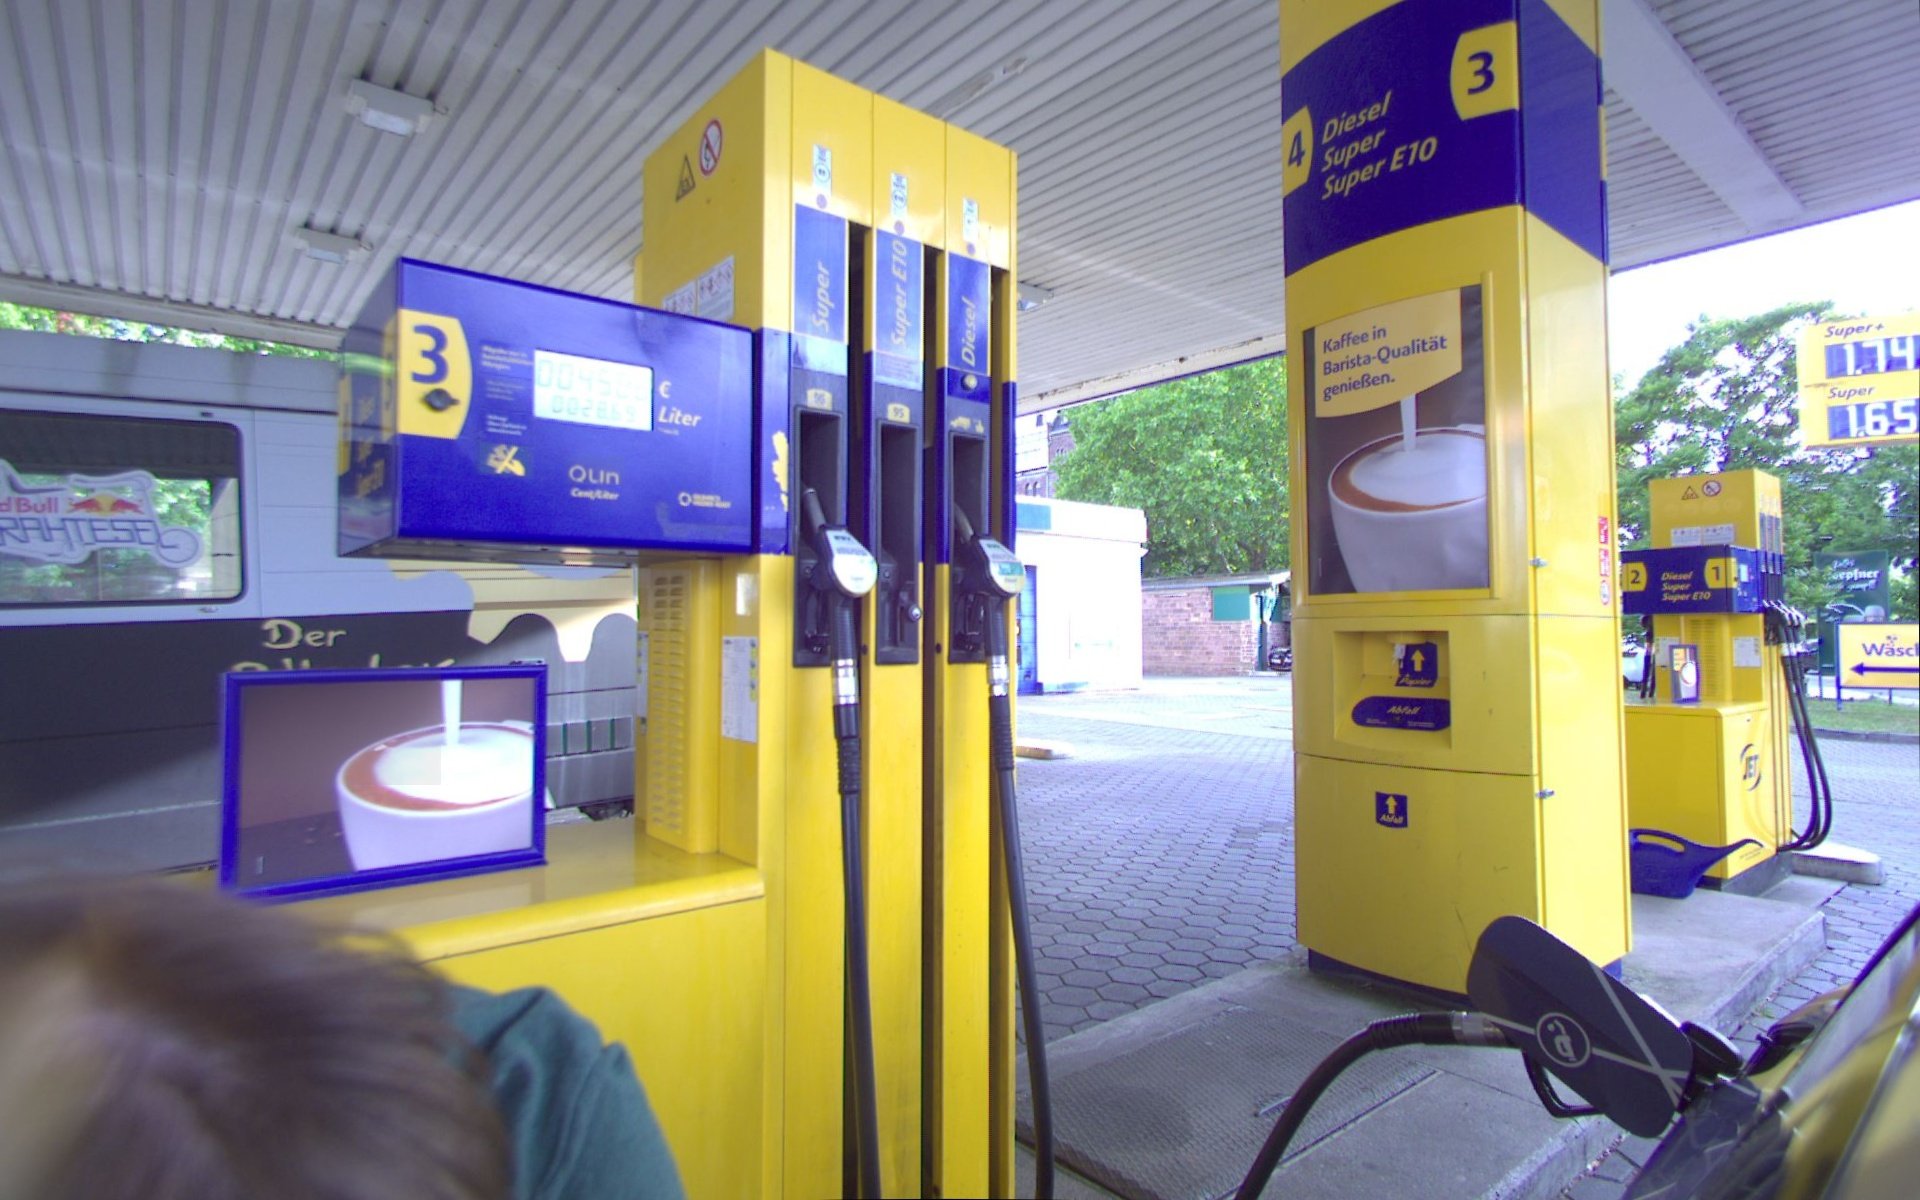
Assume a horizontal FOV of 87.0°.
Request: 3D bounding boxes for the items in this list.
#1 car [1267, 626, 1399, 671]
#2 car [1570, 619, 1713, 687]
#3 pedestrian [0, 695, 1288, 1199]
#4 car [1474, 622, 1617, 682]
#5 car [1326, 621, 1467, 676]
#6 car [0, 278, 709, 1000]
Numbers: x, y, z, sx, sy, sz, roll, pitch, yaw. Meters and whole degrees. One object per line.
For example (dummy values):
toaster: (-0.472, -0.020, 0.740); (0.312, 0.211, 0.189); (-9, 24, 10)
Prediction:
car: (12.687, 1.657, 34.421); (4.303, 1.393, 1.777); (2, -1, -28)
car: (18.353, 1.450, 27.196); (4.308, 1.622, 1.774); (4, -4, -35)
pedestrian: (-0.336, 0.752, 0.538); (0.662, 1.298, 0.751); (0, 0, -41)
car: (17.843, 1.593, 30.795); (4.303, 1.622, 1.776); (4, -4, -28)
car: (13.884, 1.534, 32.130); (4.303, 1.622, 1.777); (2, -1, -28)
car: (-4.111, 0.163, 4.886); (5.197, 2.726, 2.258); (1, -2, -39)
